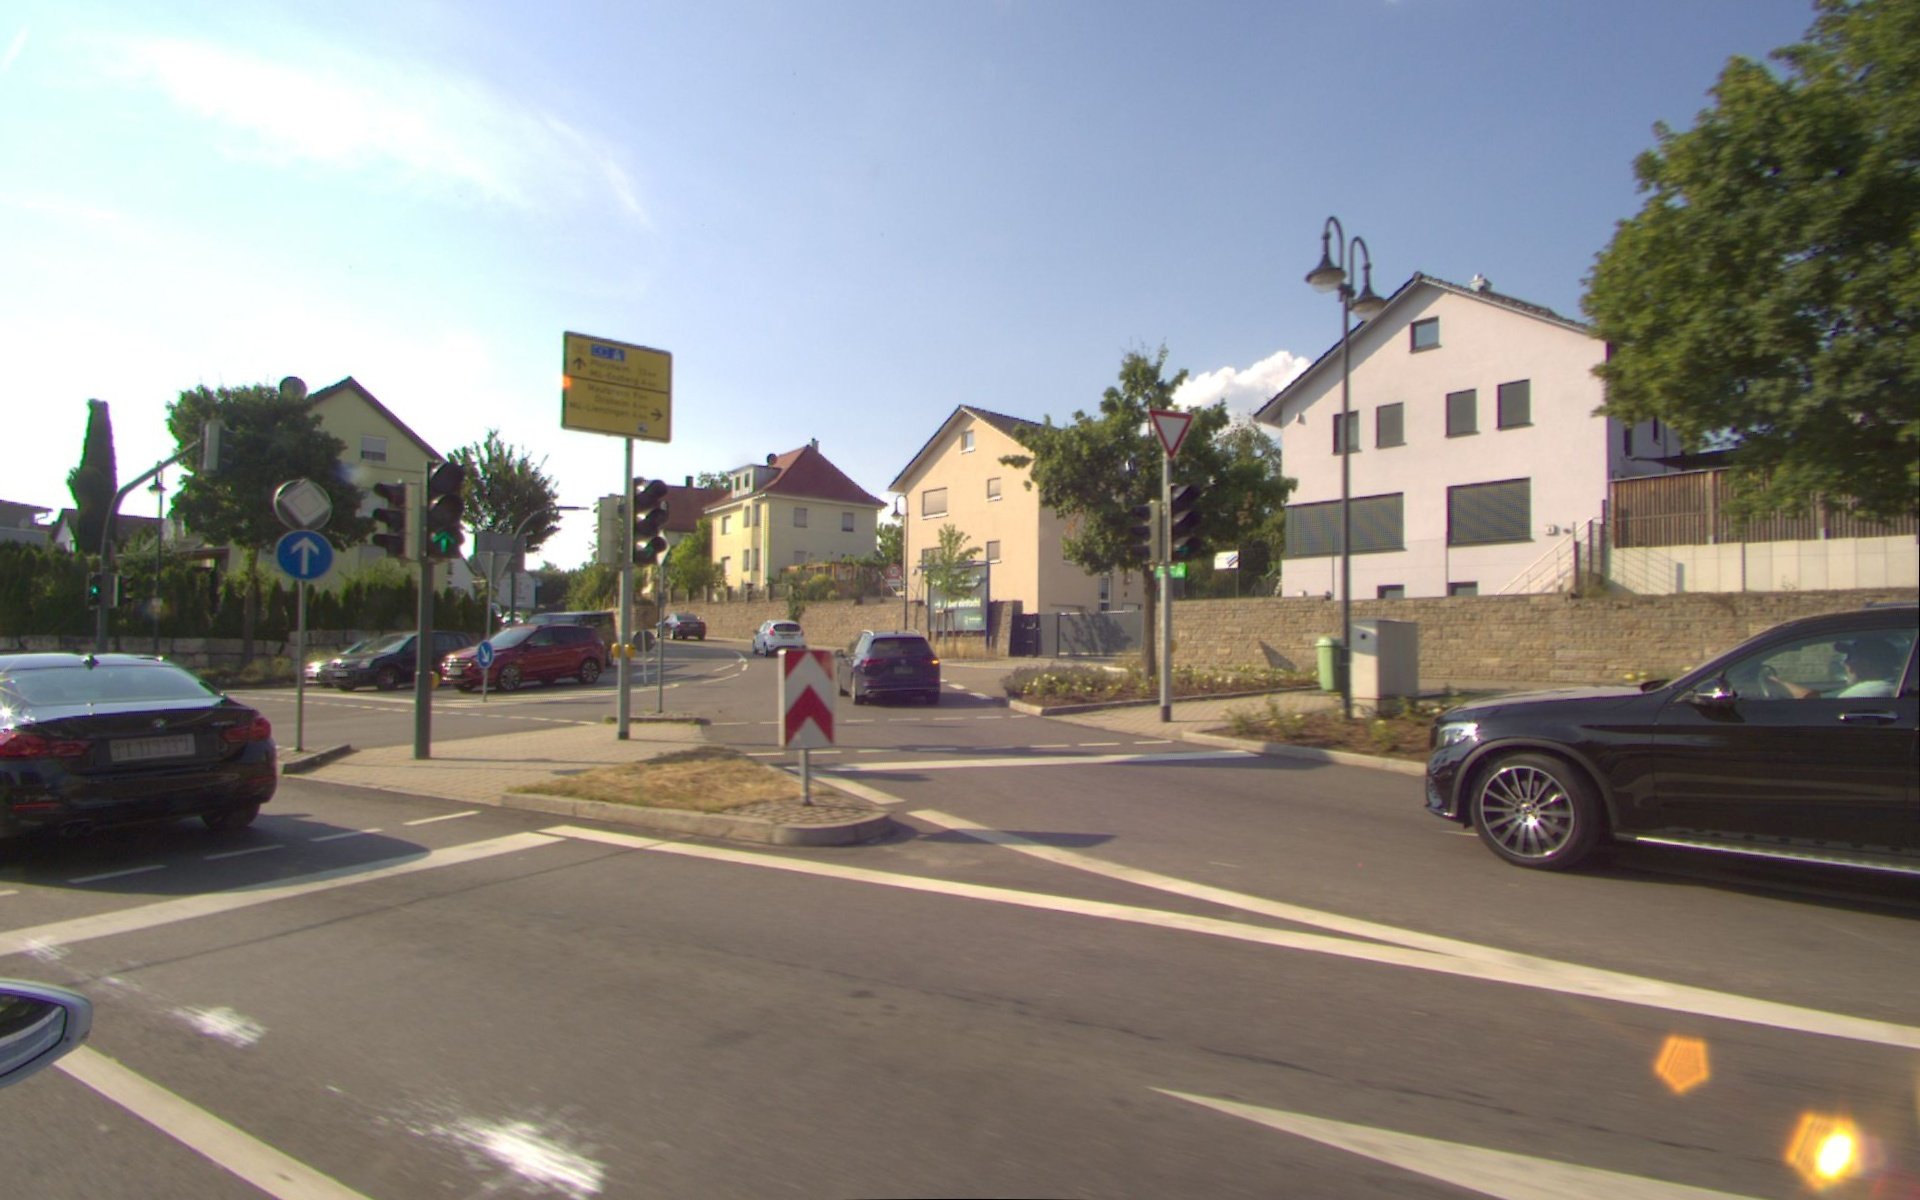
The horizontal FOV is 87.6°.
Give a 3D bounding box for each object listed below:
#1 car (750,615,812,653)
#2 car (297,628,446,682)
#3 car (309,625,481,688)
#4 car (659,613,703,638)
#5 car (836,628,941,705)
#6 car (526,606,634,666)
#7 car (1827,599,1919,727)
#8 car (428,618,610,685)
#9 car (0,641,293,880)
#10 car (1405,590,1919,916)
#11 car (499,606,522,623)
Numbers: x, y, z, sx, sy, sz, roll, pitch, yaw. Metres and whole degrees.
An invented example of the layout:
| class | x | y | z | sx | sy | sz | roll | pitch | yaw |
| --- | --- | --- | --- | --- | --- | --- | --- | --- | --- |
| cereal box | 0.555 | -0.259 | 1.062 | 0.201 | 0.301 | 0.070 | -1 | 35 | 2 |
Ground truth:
| class | x | y | z | sx | sy | sz | roll | pitch | yaw |
| --- | --- | --- | --- | --- | --- | --- | --- | --- | --- |
| car | -7.481 | 1.430 | 41.614 | 1.836 | 1.512 | 3.991 | 1 | -2 | -20 |
| car | -17.759 | 1.625 | 30.374 | 1.602 | 1.468 | 3.595 | -2 | -1 | 28 |
| car | -15.063 | 1.472 | 26.890 | 1.574 | 1.561 | 3.783 | -1 | -2 | 30 |
| car | -15.634 | 1.440 | 56.032 | 1.789 | 1.361 | 3.987 | 1 | -2 | -24 |
| car | -1.595 | 1.313 | 20.872 | 1.605 | 1.428 | 4.275 | 1 | -2 | -12 |
| car | -13.342 | 1.276 | 35.512 | 1.961 | 1.956 | 5.181 | 0 | -2 | -2 |
| car | 12.489 | 0.791 | 12.987 | 1.661 | 1.474 | 4.043 | -1 | -3 | 44 |
| car | -11.575 | 1.337 | 26.591 | 1.832 | 1.646 | 4.240 | 0 | -2 | 26 |
| car | -7.166 | 1.037 | 7.803 | 4.200 | 1.386 | 1.697 | -1 | -2 | 32 |
| car | 5.151 | 0.756 | 5.685 | 1.828 | 1.587 | 4.450 | 0 | -1 | -45 |
| car | -38.873 | 1.235 | 86.587 | 1.789 | 1.361 | 3.987 | 1 | -2 | -24 |
